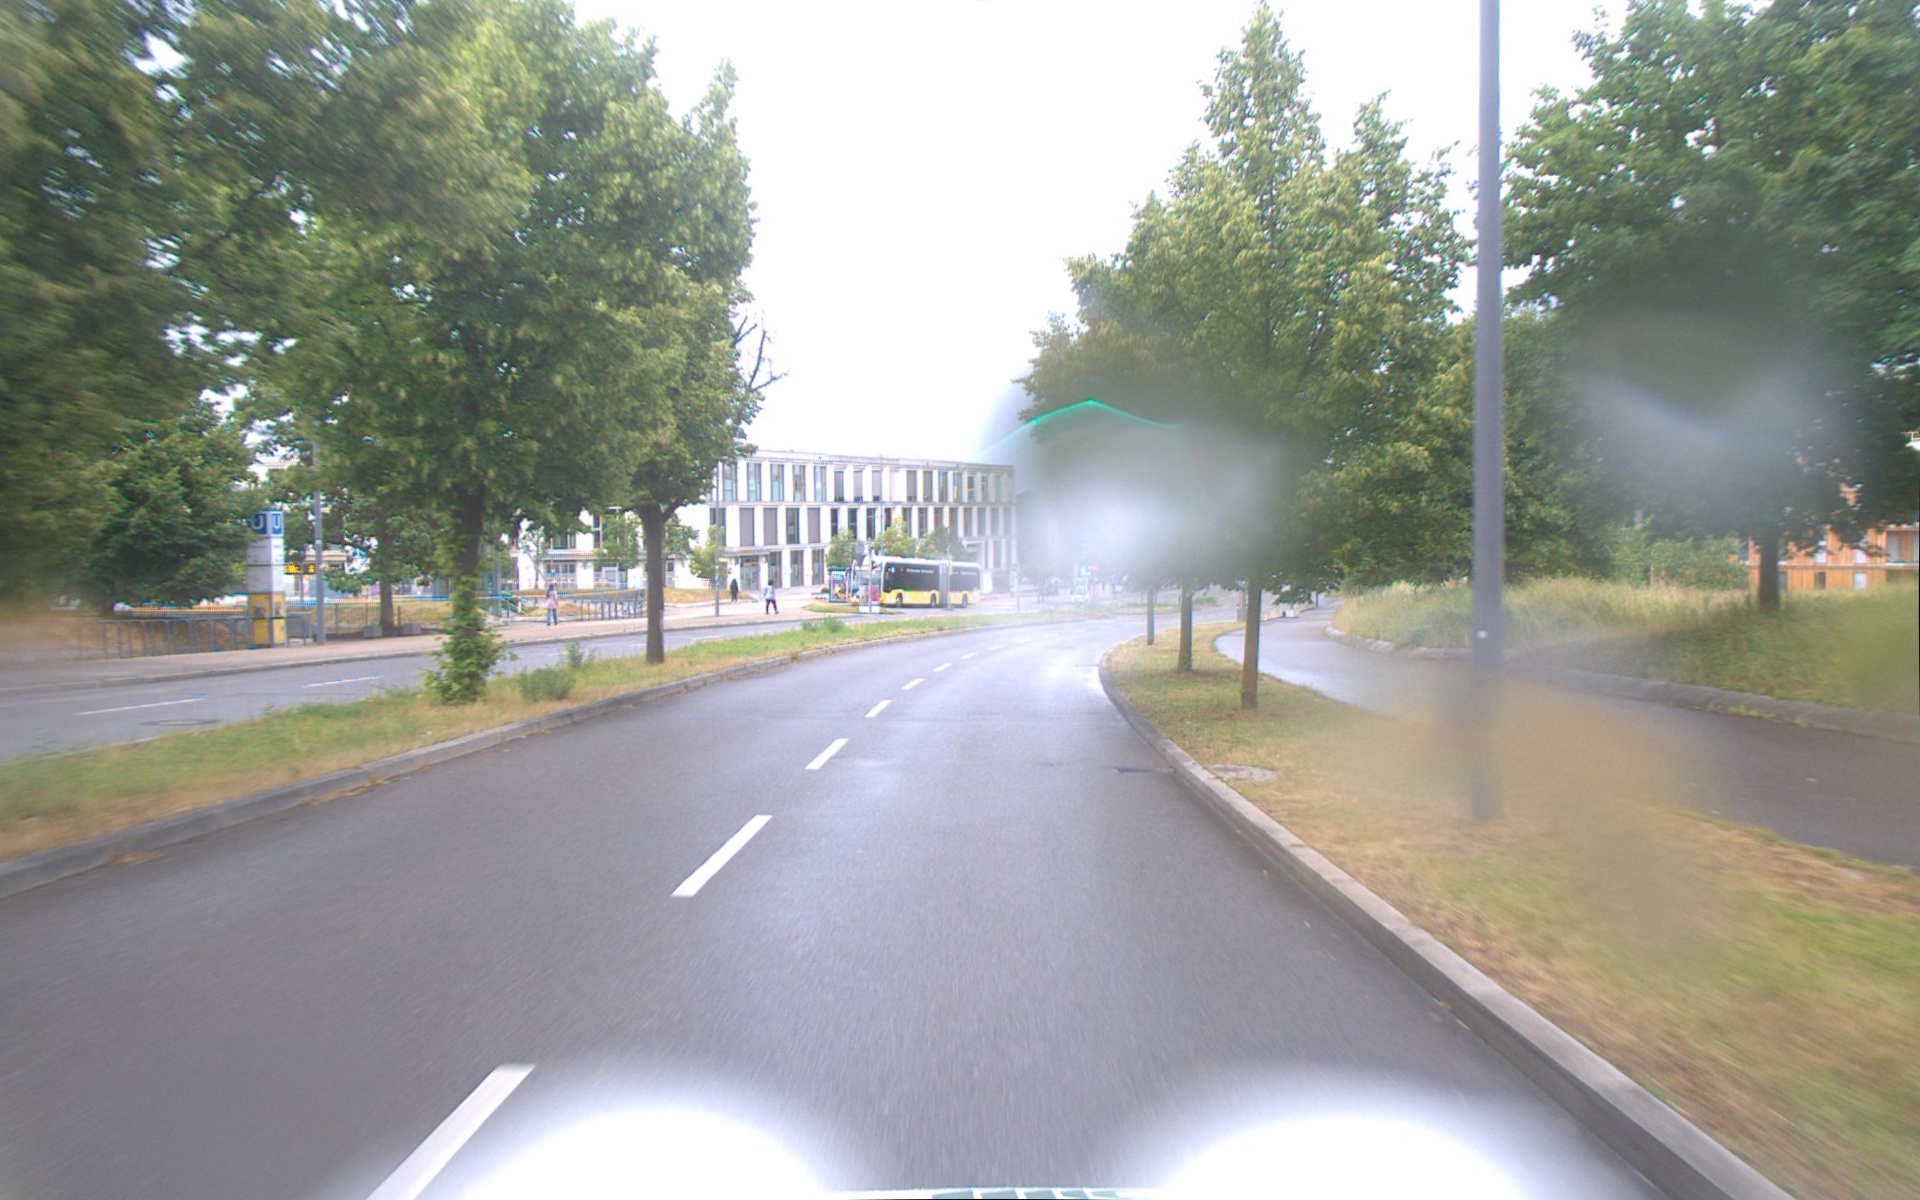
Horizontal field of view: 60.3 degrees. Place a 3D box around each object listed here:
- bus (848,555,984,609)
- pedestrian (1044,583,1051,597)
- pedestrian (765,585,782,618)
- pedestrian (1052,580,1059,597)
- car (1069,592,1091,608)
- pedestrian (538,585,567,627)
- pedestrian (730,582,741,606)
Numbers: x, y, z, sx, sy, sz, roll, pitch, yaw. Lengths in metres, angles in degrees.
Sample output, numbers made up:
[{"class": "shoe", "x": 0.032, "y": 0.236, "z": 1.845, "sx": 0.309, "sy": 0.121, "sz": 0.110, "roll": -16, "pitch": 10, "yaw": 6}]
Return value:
[{"class": "bus", "x": -2.832, "y": -1.135, "z": 119.163, "sx": 2.728, "sy": 3.416, "sz": 18.222, "roll": 0, "pitch": -1, "yaw": 22}, {"class": "pedestrian", "x": 9.804, "y": -1.121, "z": 185.928, "sx": 0.818, "sy": 1.559, "sz": 0.751, "roll": 0, "pitch": -1, "yaw": 2}, {"class": "pedestrian", "x": -9.289, "y": 0.077, "z": 82.256, "sx": 0.818, "sy": 1.601, "sz": 0.718, "roll": 0, "pitch": -1, "yaw": -9}, {"class": "pedestrian", "x": 10.699, "y": -1.245, "z": 185.492, "sx": 0.733, "sy": 1.885, "sz": 0.837, "roll": 0, "pitch": -1, "yaw": -3}, {"class": "car", "x": 11.571, "y": 0.041, "z": 159.101, "sx": 1.447, "sy": 1.520, "sz": 2.530, "roll": 0, "pitch": -1, "yaw": 20}, {"class": "pedestrian", "x": -15.967, "y": 0.246, "z": 64.776, "sx": 0.796, "sy": 1.649, "sz": 0.936, "roll": 0, "pitch": -1, "yaw": 8}, {"class": "pedestrian", "x": -14.324, "y": -0.388, "z": 105.569, "sx": 0.668, "sy": 1.551, "sz": 0.719, "roll": 0, "pitch": -1, "yaw": -3}]
